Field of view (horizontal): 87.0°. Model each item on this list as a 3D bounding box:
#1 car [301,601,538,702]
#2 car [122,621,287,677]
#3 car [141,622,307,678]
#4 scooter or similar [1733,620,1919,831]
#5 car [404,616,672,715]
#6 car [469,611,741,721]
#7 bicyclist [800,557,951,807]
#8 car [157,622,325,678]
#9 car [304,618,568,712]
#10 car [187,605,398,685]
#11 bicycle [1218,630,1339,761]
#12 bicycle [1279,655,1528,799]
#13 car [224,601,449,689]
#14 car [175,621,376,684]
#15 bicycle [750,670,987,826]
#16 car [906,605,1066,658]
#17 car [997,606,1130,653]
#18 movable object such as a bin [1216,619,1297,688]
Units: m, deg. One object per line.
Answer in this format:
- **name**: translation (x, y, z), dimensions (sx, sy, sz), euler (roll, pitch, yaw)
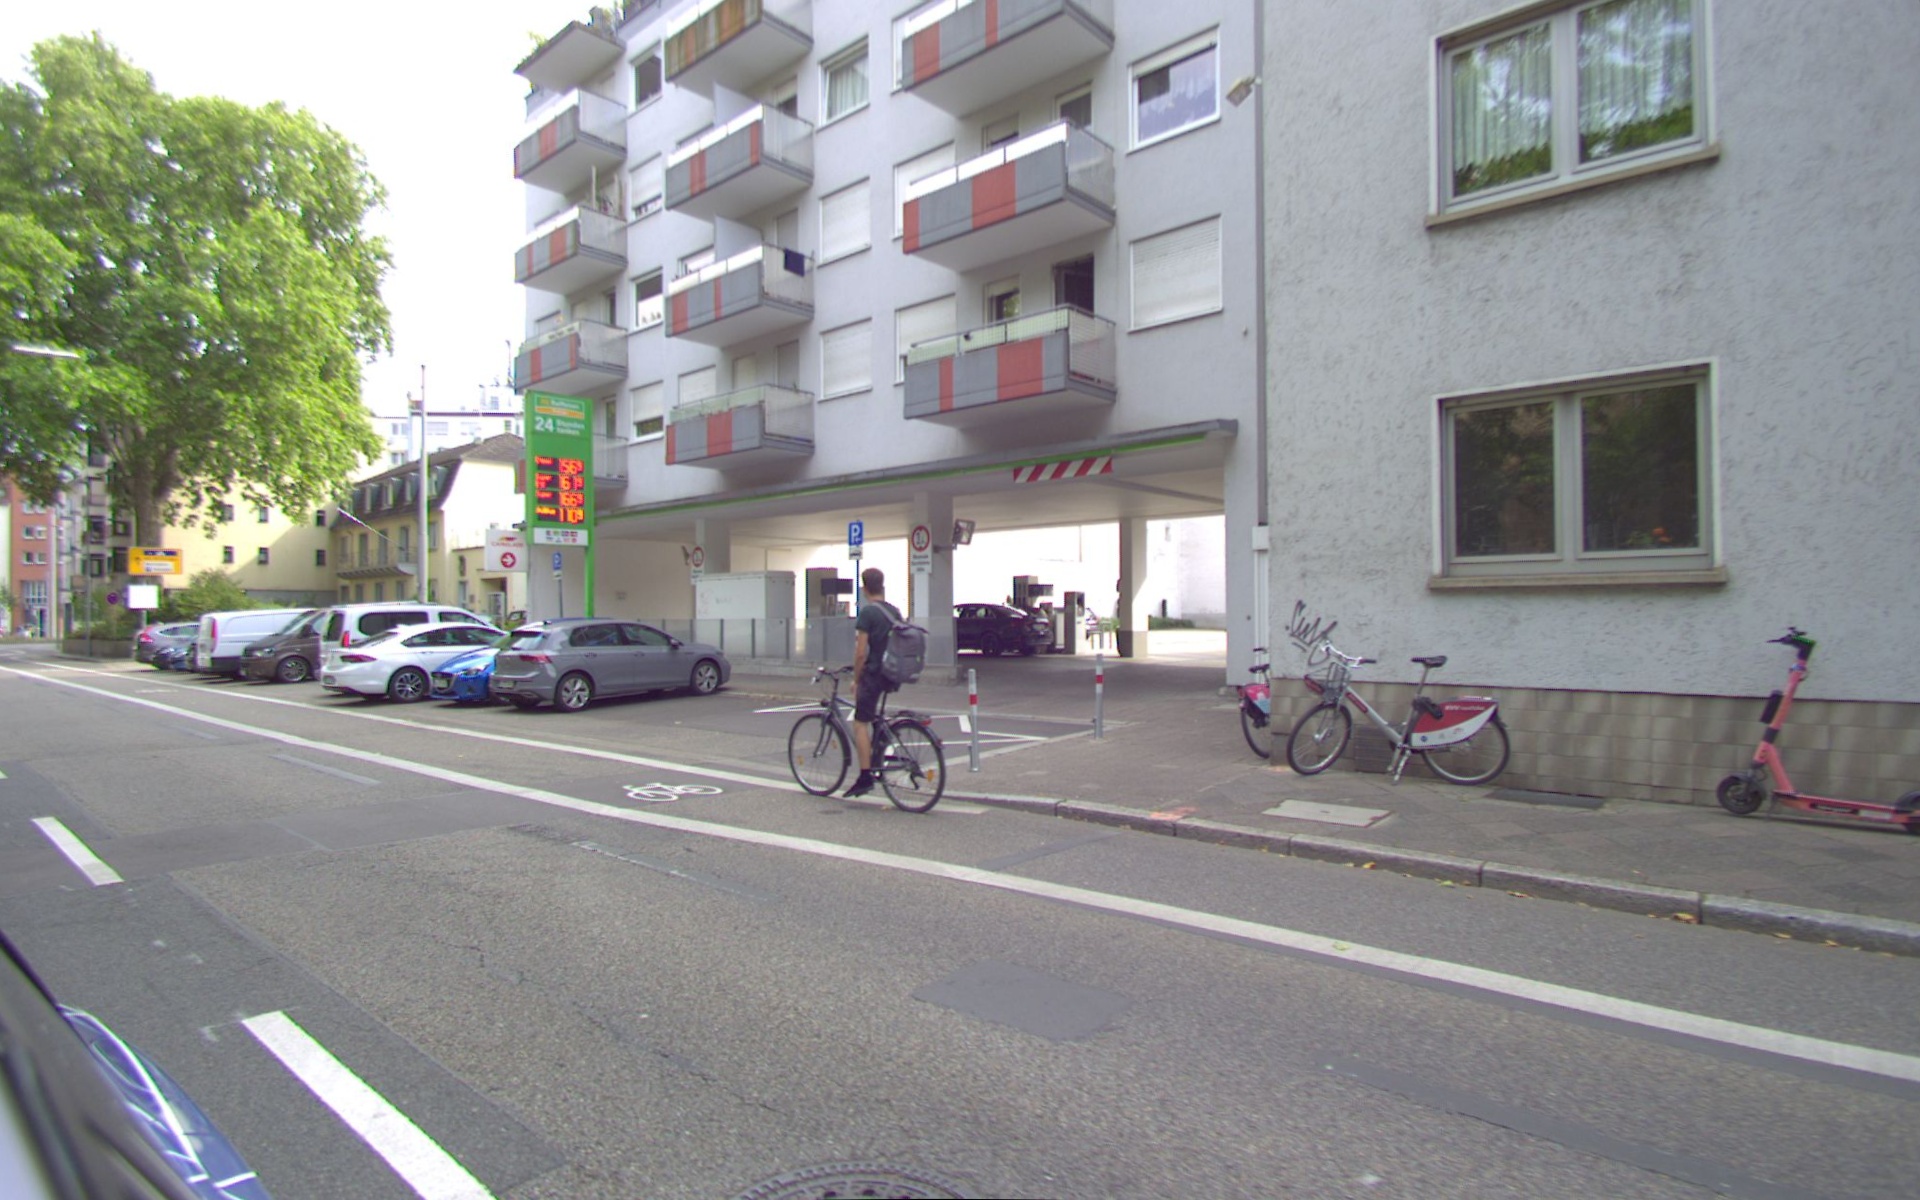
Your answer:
- **car**: translation (-11.784, 1.048, 22.270), dimensions (1.924, 1.862, 4.167), euler (-2, 1, 42)
- **car**: translation (-26.976, 1.702, 36.254), dimensions (1.754, 1.618, 4.470), euler (-2, 1, 42)
- **car**: translation (-25.203, 1.664, 34.766), dimensions (1.732, 1.560, 4.315), euler (-2, 1, 42)
- **scooter or similar**: translation (5.552, 0.745, 6.239), dimensions (1.201, 1.231, 0.346), euler (-2, -1, 42)
- **car**: translation (-7.869, 1.139, 19.166), dimensions (1.910, 1.462, 4.255), euler (-2, 1, 42)
- **car**: translation (-6.119, 1.061, 17.800), dimensions (1.837, 1.525, 4.107), euler (-2, 1, 42)
- **bicyclist**: translation (-0.672, 0.610, 7.989), dimensions (1.045, 1.824, 0.645), euler (-1, -2, 42)
- **car**: translation (-23.661, 1.602, 33.429), dimensions (1.719, 1.522, 4.220), euler (-2, 1, 42)
- **car**: translation (-10.261, 1.193, 20.053), dimensions (1.873, 1.462, 4.226), euler (-2, 1, 42)
- **car**: translation (-18.685, 1.201, 28.478), dimensions (1.950, 1.873, 4.567), euler (-2, 1, 42)
- **bicycle**: translation (3.160, 0.883, 9.941), dimensions (0.453, 1.126, 1.753), euler (-2, -1, 41)
- **bicycle**: translation (3.422, 0.938, 7.906), dimensions (1.662, 0.957, 0.590), euler (-2, -1, 42)
- **car**: translation (-16.595, 1.121, 27.123), dimensions (1.993, 1.948, 4.716), euler (-2, 1, 42)
- **car**: translation (-20.354, 1.495, 30.259), dimensions (1.874, 1.481, 4.655), euler (-2, 1, 42)
- **bicycle**: translation (-0.783, 1.108, 8.070), dimensions (2.076, 1.022, 0.639), euler (-2, -2, 42)
- **car**: translation (0.651, 0.811, 27.030), dimensions (3.998, 1.308, 1.888), euler (-2, -1, 41)
- **car**: translation (3.558, 1.010, 35.288), dimensions (4.366, 1.533, 1.820), euler (-2, -1, 42)
- **movable object such as a bin**: translation (5.000, 0.885, 17.085), dimensions (0.975, 1.115, 0.934), euler (-2, -2, 45)
